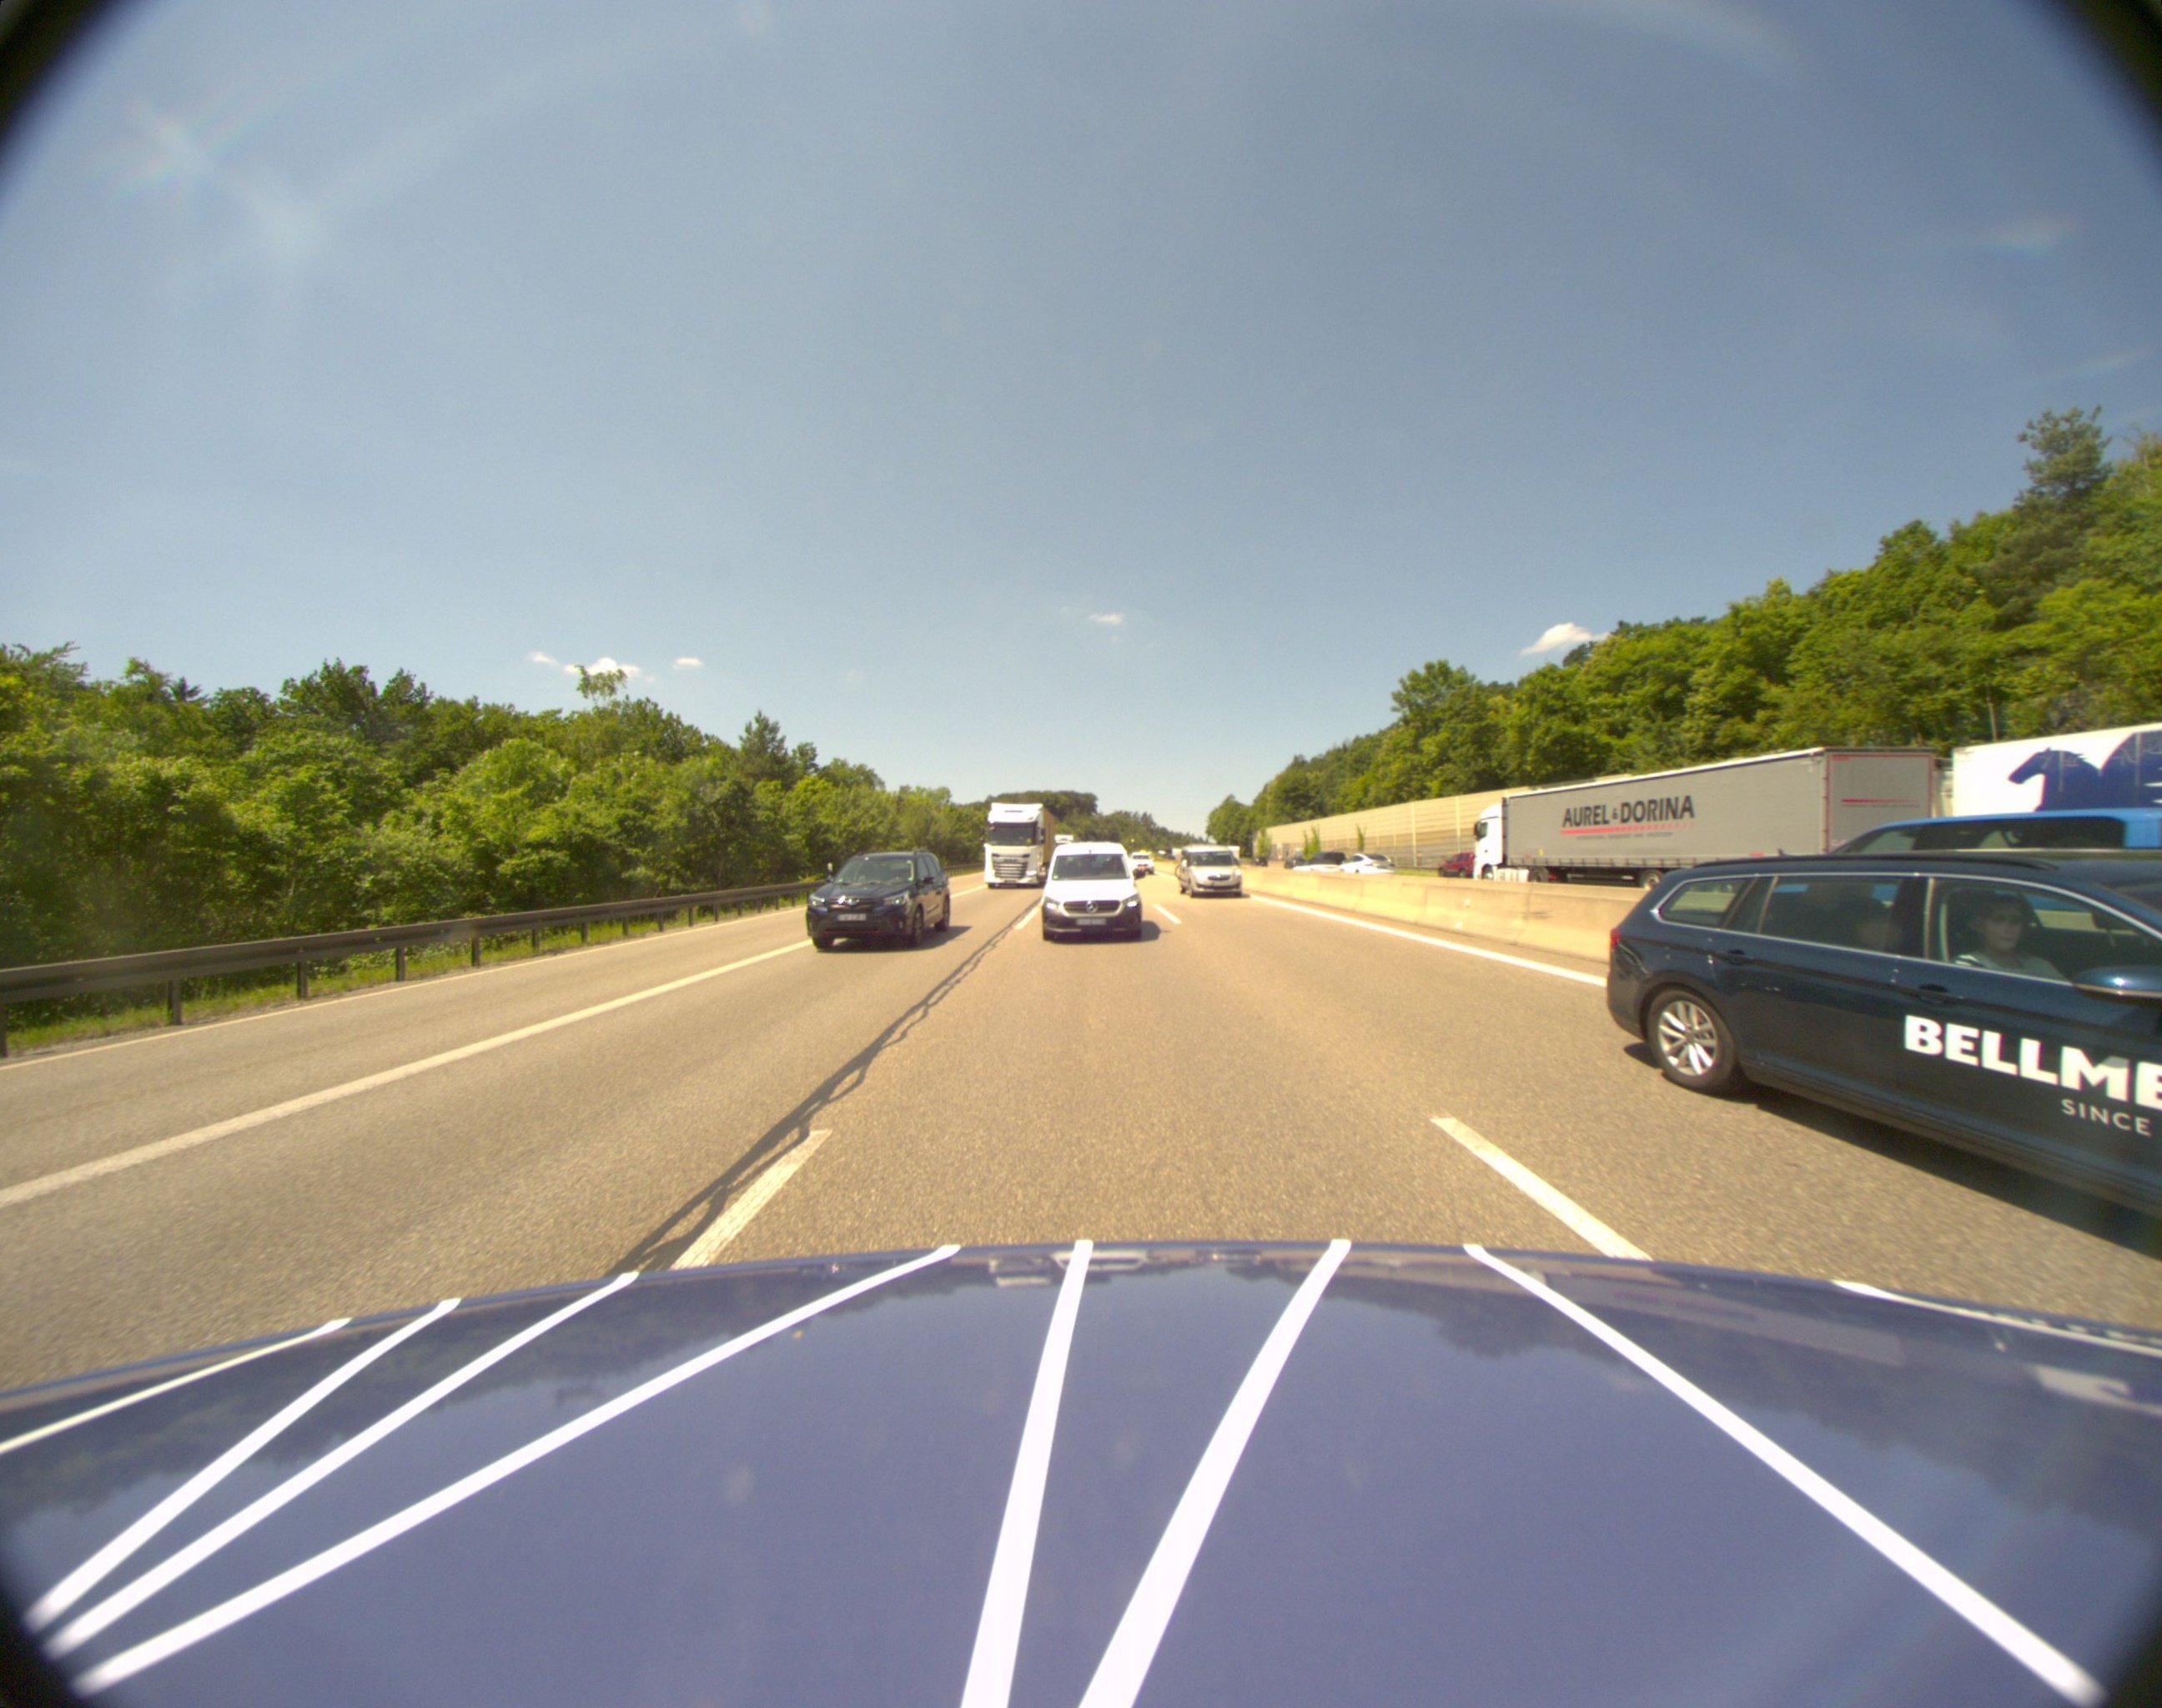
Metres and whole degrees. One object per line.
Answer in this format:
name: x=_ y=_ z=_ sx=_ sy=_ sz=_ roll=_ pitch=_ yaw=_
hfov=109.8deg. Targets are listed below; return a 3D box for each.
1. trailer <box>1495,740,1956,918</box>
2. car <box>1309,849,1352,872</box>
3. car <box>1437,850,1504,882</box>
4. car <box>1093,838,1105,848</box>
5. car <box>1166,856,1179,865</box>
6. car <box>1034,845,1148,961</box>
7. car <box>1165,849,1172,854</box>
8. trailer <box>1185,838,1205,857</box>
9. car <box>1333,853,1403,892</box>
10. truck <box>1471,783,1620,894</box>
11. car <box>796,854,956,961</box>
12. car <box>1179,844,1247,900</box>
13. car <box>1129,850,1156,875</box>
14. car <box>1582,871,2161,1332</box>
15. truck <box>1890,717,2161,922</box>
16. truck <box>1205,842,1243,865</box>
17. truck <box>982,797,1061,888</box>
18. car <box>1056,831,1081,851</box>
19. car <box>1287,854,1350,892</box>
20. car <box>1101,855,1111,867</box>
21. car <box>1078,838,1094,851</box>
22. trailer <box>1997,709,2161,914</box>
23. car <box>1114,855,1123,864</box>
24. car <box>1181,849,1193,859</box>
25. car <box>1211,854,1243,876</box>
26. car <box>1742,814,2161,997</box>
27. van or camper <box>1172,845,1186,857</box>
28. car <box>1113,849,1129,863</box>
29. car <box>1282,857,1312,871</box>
trailer: x=19.089 y=-0.686 z=25.169 sx=2.842 sy=4.141 sz=14.736 roll=0 pitch=1 yaw=1
car: x=19.853 y=0.502 z=60.733 sx=1.738 sy=1.799 sz=4.863 roll=0 pitch=0 yaw=-1
car: x=22.963 y=0.678 z=44.977 sx=1.680 sy=1.741 sz=4.376 roll=0 pitch=1 yaw=0
car: x=4.497 y=-2.682 z=185.486 sx=2.721 sy=2.534 sz=5.941 roll=0 pitch=1 yaw=3
car: x=14.344 y=0.997 z=119.033 sx=1.618 sy=1.368 sz=4.270 roll=0 pitch=0 yaw=1
car: x=0.233 y=0.727 z=13.856 sx=1.729 sy=1.760 sz=4.313 roll=-1 pitch=1 yaw=2
car: x=30.581 y=-0.855 z=266.627 sx=1.926 sy=1.856 sz=5.304 roll=-1 pitch=0 yaw=2
trailer: x=24.569 y=-1.482 z=164.399 sx=2.819 sy=3.886 sz=13.827 roll=0 pitch=1 yaw=2
car: x=15.618 y=0.974 z=41.609 sx=1.998 sy=1.938 sz=4.748 roll=0 pitch=1 yaw=0
truck: x=19.129 y=-0.605 z=31.743 sx=2.848 sy=4.189 sz=5.659 roll=-1 pitch=0 yaw=1
car: x=-3.671 y=0.869 z=14.416 sx=1.816 sy=1.658 sz=4.203 roll=0 pitch=1 yaw=1
car: x=4.625 y=0.579 z=27.178 sx=1.780 sy=1.833 sz=4.000 roll=0 pitch=0 yaw=1
car: x=4.758 y=0.604 z=58.784 sx=1.998 sy=1.827 sz=4.001 roll=0 pitch=0 yaw=4
car: x=4.396 y=0.843 z=3.036 sx=1.737 sy=1.419 sz=4.730 roll=0 pitch=0 yaw=1
truck: x=22.599 y=-0.698 z=17.332 sx=2.814 sy=4.024 sz=5.084 roll=0 pitch=1 yaw=0
truck: x=17.157 y=-0.121 z=91.944 sx=2.534 sy=2.673 sz=11.627 roll=0 pitch=1 yaw=1
truck: x=-2.895 y=-0.553 z=42.633 sx=2.789 sy=4.144 sz=16.268 roll=0 pitch=0 yaw=1
car: x=-1.607 y=-1.650 z=99.859 sx=2.721 sy=2.534 sz=5.941 roll=0 pitch=1 yaw=3
car: x=12.081 y=0.925 z=38.902 sx=1.998 sy=1.783 sz=3.999 roll=0 pitch=1 yaw=1
car: x=4.518 y=1.259 z=137.488 sx=1.902 sy=2.002 sz=4.000 roll=0 pitch=0 yaw=2
car: x=0.904 y=-1.798 z=143.200 sx=2.721 sy=2.534 sz=5.941 roll=0 pitch=1 yaw=3
trailer: x=22.531 y=-0.778 z=11.210 sx=2.814 sy=4.024 sz=12.625 roll=0 pitch=1 yaw=1
car: x=8.573 y=1.288 z=174.328 sx=1.998 sy=2.002 sz=4.001 roll=0 pitch=0 yaw=3
car: x=18.853 y=-0.002 z=135.145 sx=1.697 sy=1.673 sz=4.196 roll=-1 pitch=0 yaw=1
car: x=12.124 y=0.894 z=63.397 sx=1.777 sy=1.761 sz=4.183 roll=0 pitch=0 yaw=-1
car: x=11.835 y=0.488 z=9.992 sx=1.916 sy=1.836 sz=5.035 roll=0 pitch=1 yaw=1
van or camper: x=21.913 y=-0.656 z=170.606 sx=2.275 sy=2.720 sz=6.805 roll=0 pitch=1 yaw=1
car: x=5.436 y=0.235 z=102.888 sx=1.998 sy=1.783 sz=4.000 roll=-1 pitch=0 yaw=1
car: x=23.549 y=1.042 z=82.948 sx=1.952 sy=1.427 sz=4.693 roll=0 pitch=1 yaw=1
